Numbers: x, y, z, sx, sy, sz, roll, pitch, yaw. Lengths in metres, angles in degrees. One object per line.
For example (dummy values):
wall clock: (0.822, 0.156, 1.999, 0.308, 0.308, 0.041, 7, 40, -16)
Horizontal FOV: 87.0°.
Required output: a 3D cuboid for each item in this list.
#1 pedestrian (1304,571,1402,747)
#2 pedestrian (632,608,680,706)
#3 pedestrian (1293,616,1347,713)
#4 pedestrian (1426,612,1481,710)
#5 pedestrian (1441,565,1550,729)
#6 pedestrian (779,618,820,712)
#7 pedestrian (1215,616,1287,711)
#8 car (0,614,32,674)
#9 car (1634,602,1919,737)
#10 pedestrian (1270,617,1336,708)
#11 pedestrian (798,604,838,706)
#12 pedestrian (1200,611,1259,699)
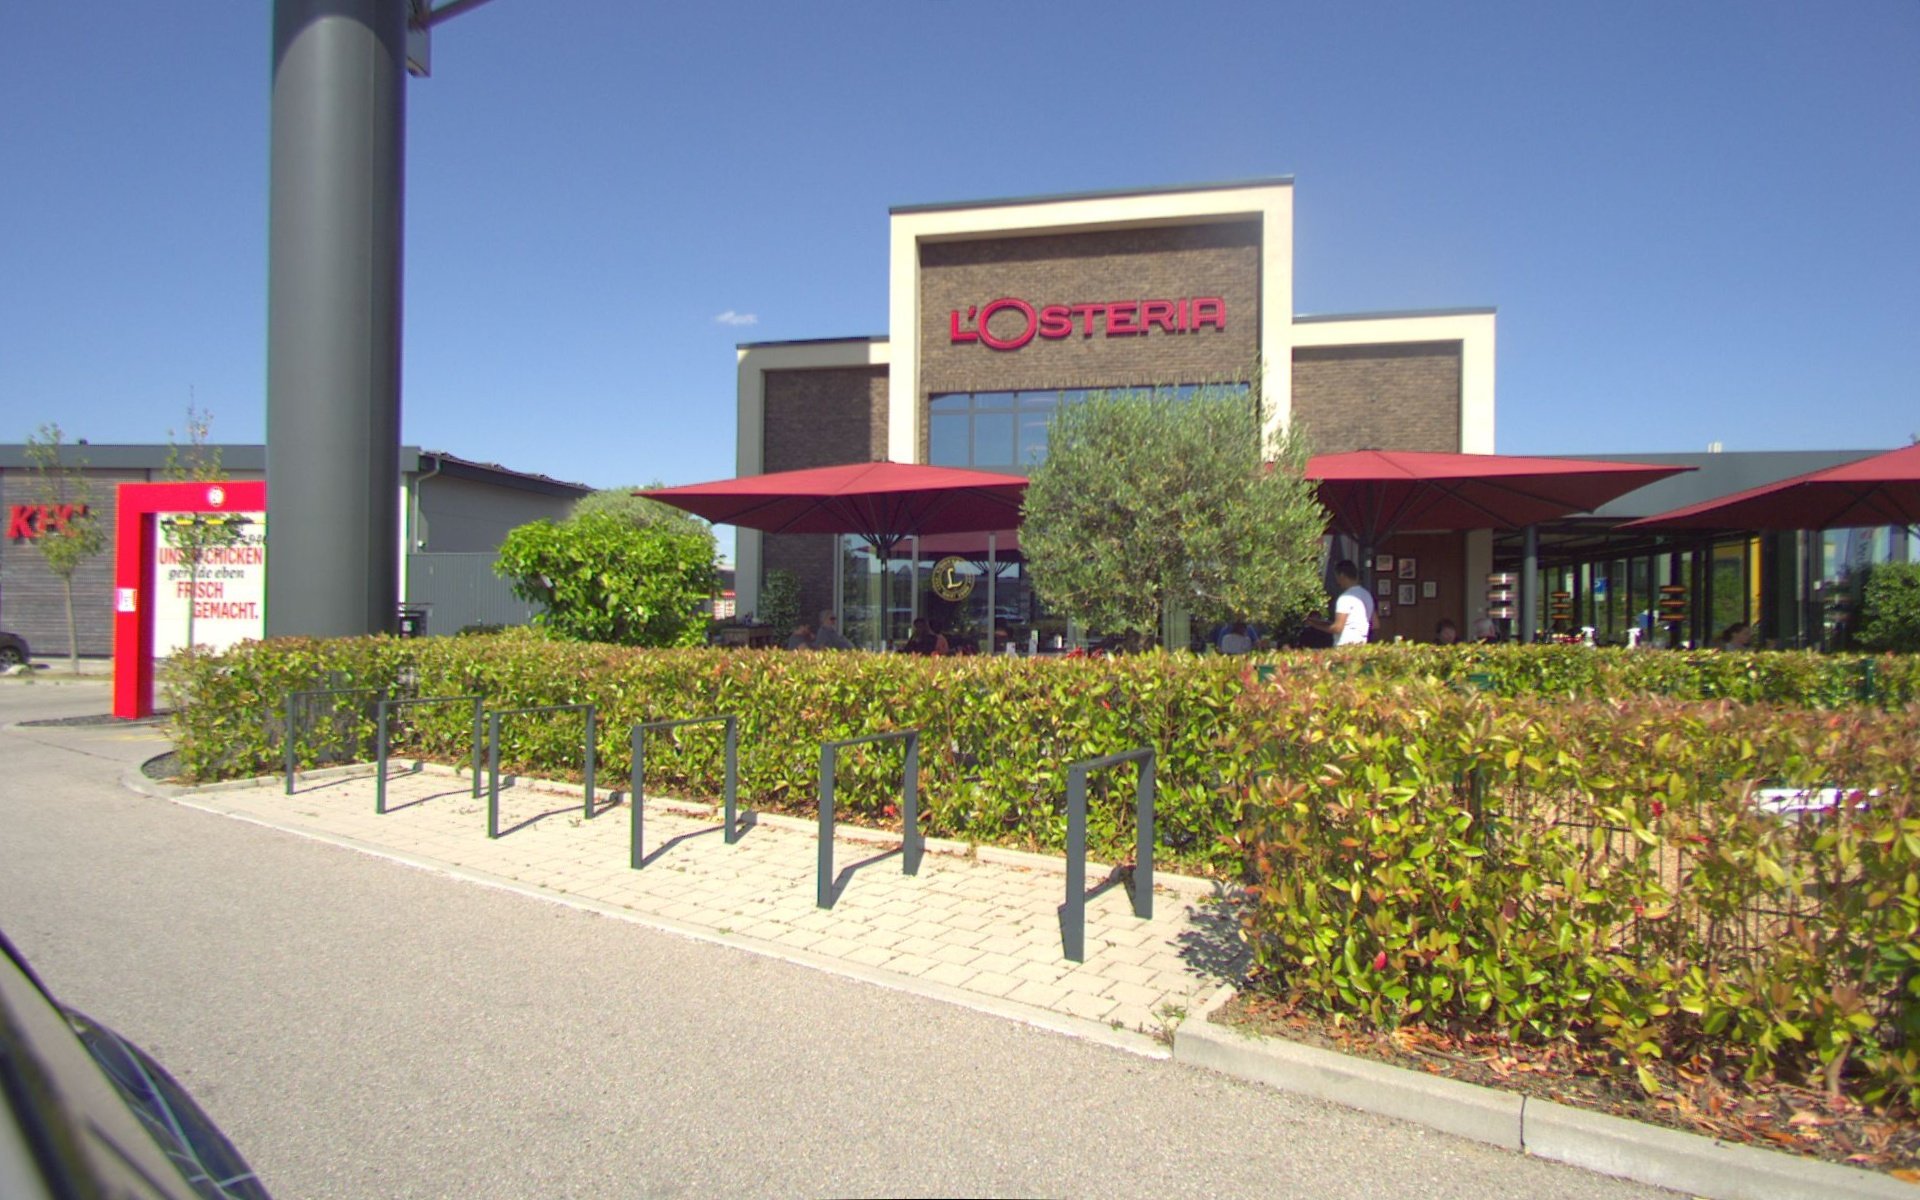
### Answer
pedestrian: (3.970, 0.585, 10.281, 0.754, 1.700, 0.783, -1, -1, 10)
pedestrian: (-4.765, 0.886, 15.881, 0.562, 1.516, 0.524, -1, -1, 9)
pedestrian: (4.619, 0.816, 13.004, 0.612, 1.207, 0.705, -1, -2, 20)
pedestrian: (5.762, 0.698, 11.817, 0.542, 1.098, 0.573, -1, -2, 28)
pedestrian: (5.532, 0.474, 10.495, 0.754, 1.627, 0.783, -1, -1, 10)
pedestrian: (-2.117, 0.842, 13.321, 0.474, 1.194, 0.652, 0, -1, -13)
pedestrian: (3.838, 0.820, 13.355, 0.699, 1.207, 0.617, 1, -2, -42)
car: (-25.617, 1.127, 24.873, 1.722, 1.518, 3.895, 0, 0, 11)
car: (9.633, 0.701, 10.687, 3.805, 1.318, 1.640, 0, -1, 15)
pedestrian: (4.721, 0.841, 13.935, 0.616, 1.207, 0.700, -2, -2, 42)
pedestrian: (-1.989, 0.753, 14.122, 0.474, 1.377, 0.652, 0, -1, -13)
pedestrian: (3.809, 0.765, 14.327, 0.659, 1.207, 0.709, -1, -1, 4)
